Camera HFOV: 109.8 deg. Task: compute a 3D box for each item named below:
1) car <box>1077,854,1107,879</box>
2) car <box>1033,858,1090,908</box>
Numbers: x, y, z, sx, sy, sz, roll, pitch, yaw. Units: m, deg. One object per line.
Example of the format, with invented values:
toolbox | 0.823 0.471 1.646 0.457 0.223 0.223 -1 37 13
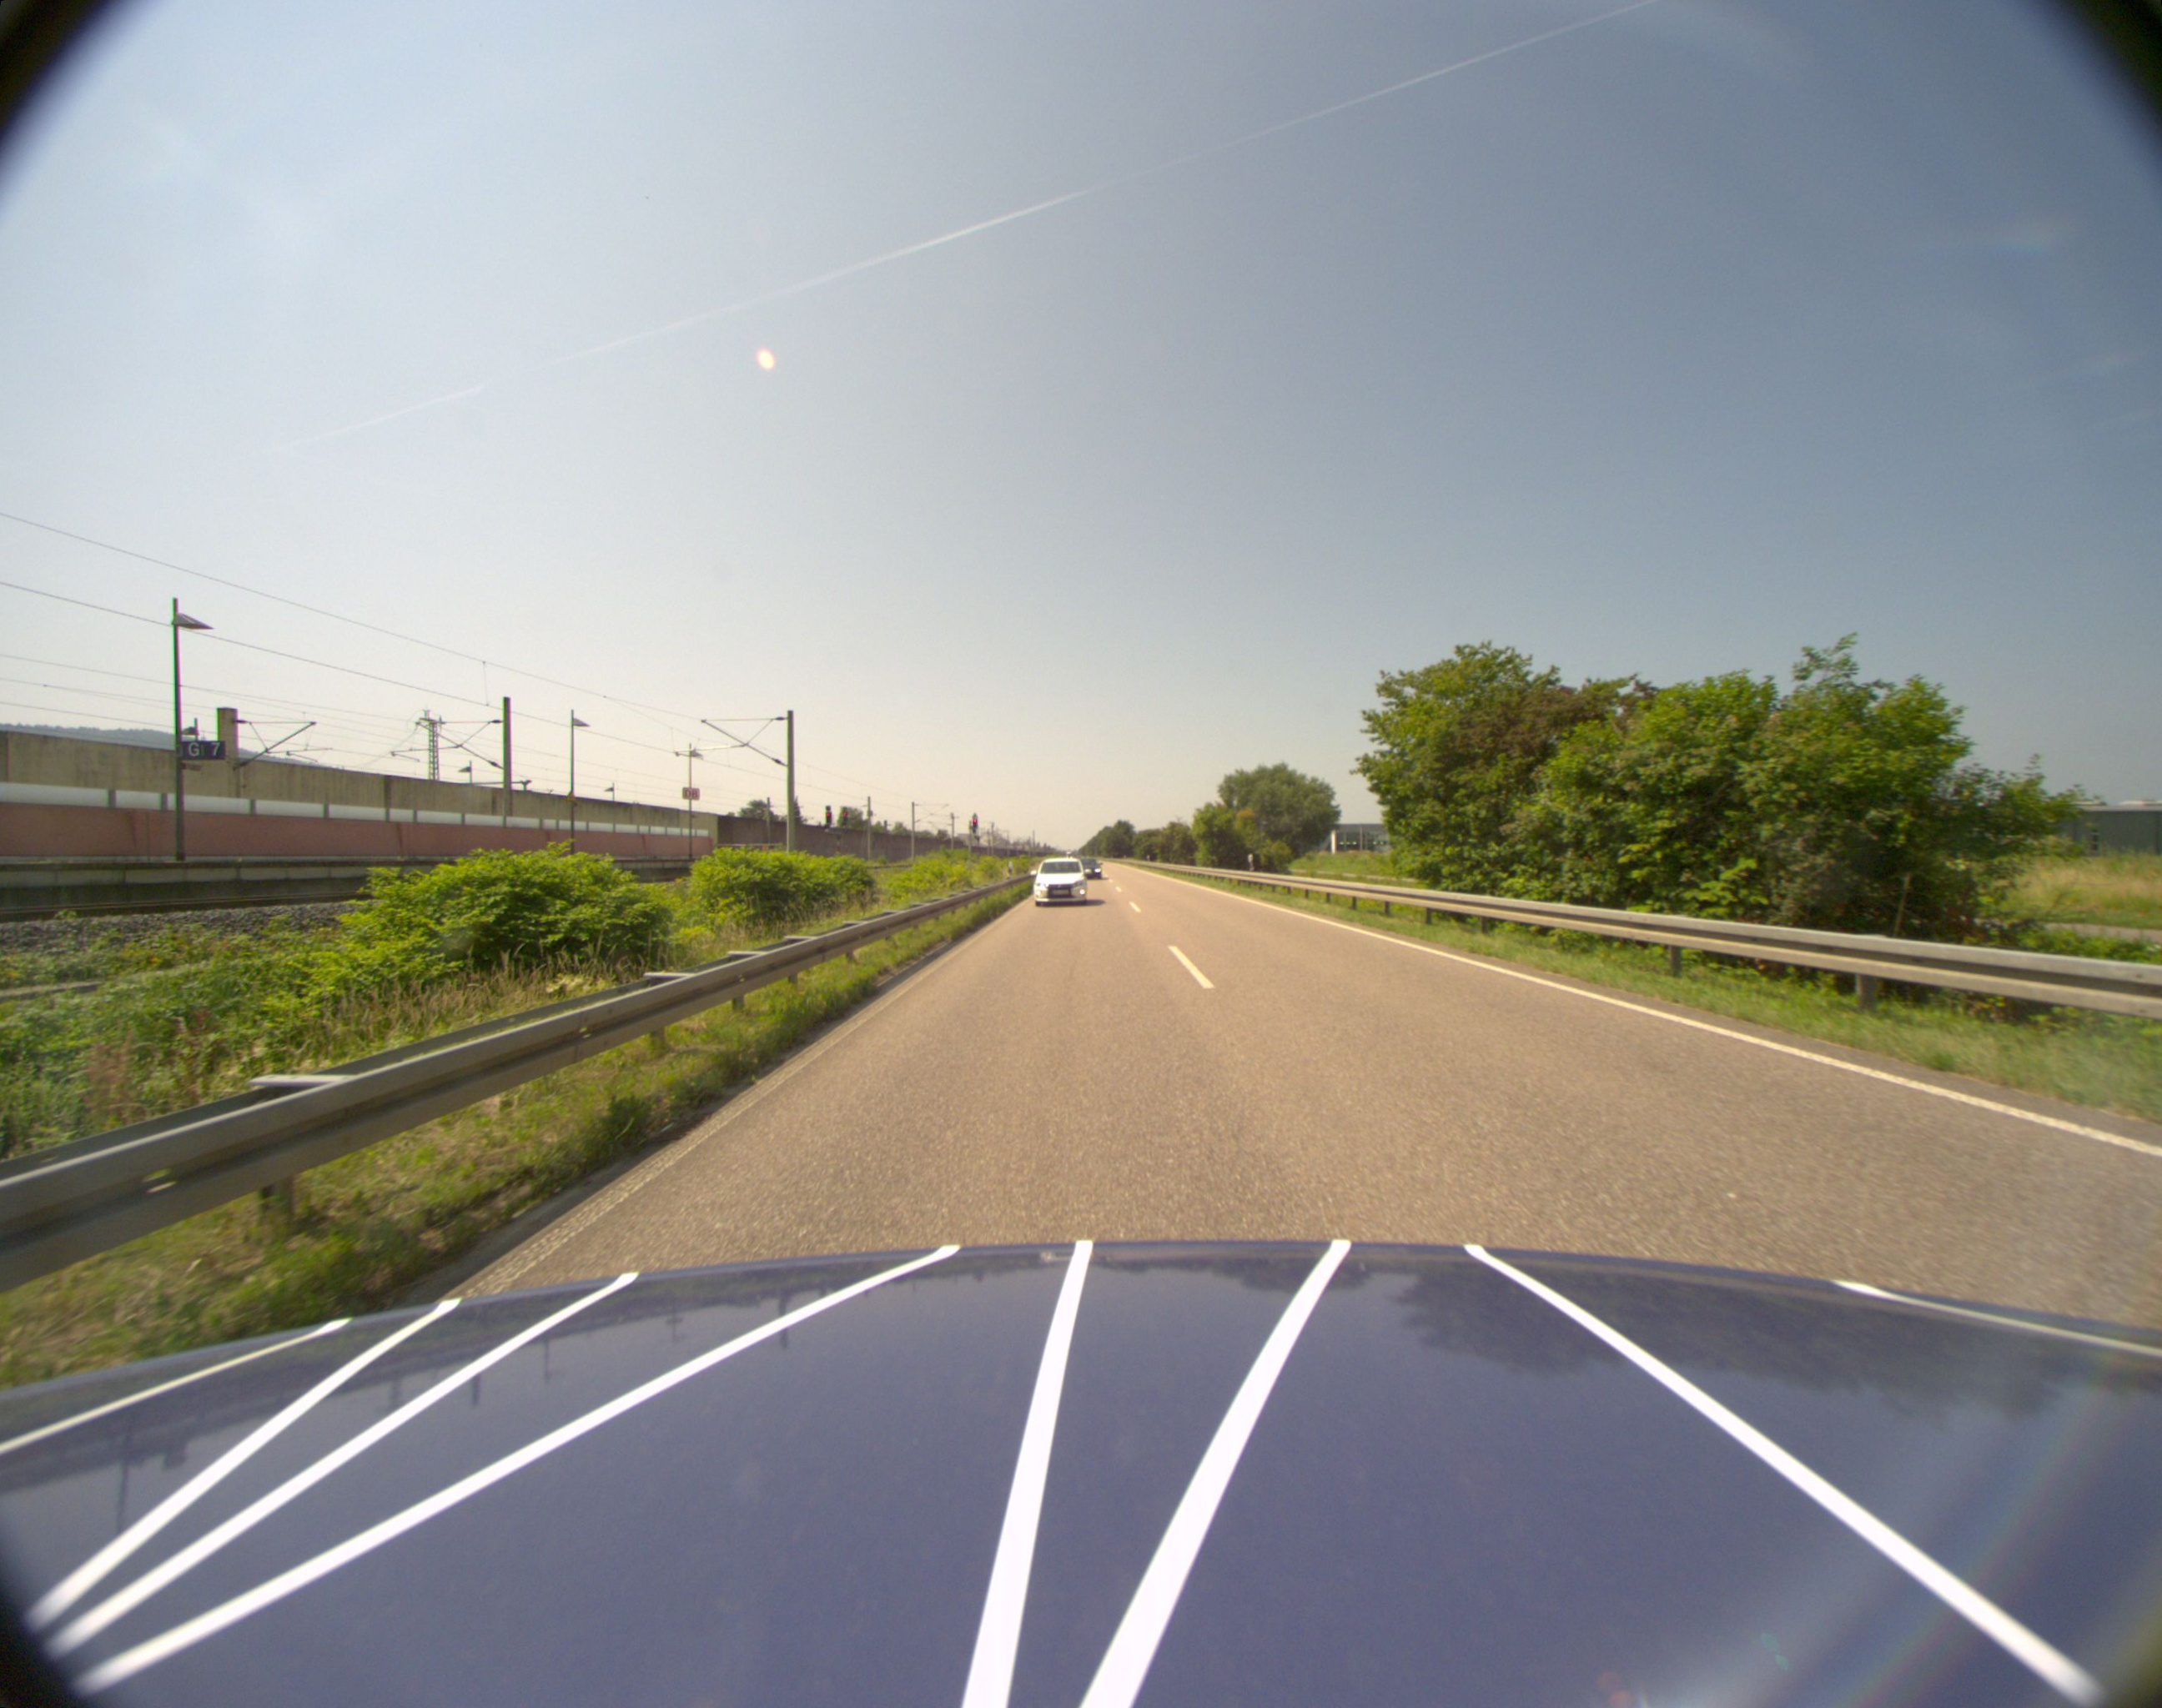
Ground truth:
car | 0.637 0.772 48.389 1.711 1.470 4.154 -1 0 -2
car | -0.664 0.900 25.270 1.701 1.470 4.154 -1 0 -2
